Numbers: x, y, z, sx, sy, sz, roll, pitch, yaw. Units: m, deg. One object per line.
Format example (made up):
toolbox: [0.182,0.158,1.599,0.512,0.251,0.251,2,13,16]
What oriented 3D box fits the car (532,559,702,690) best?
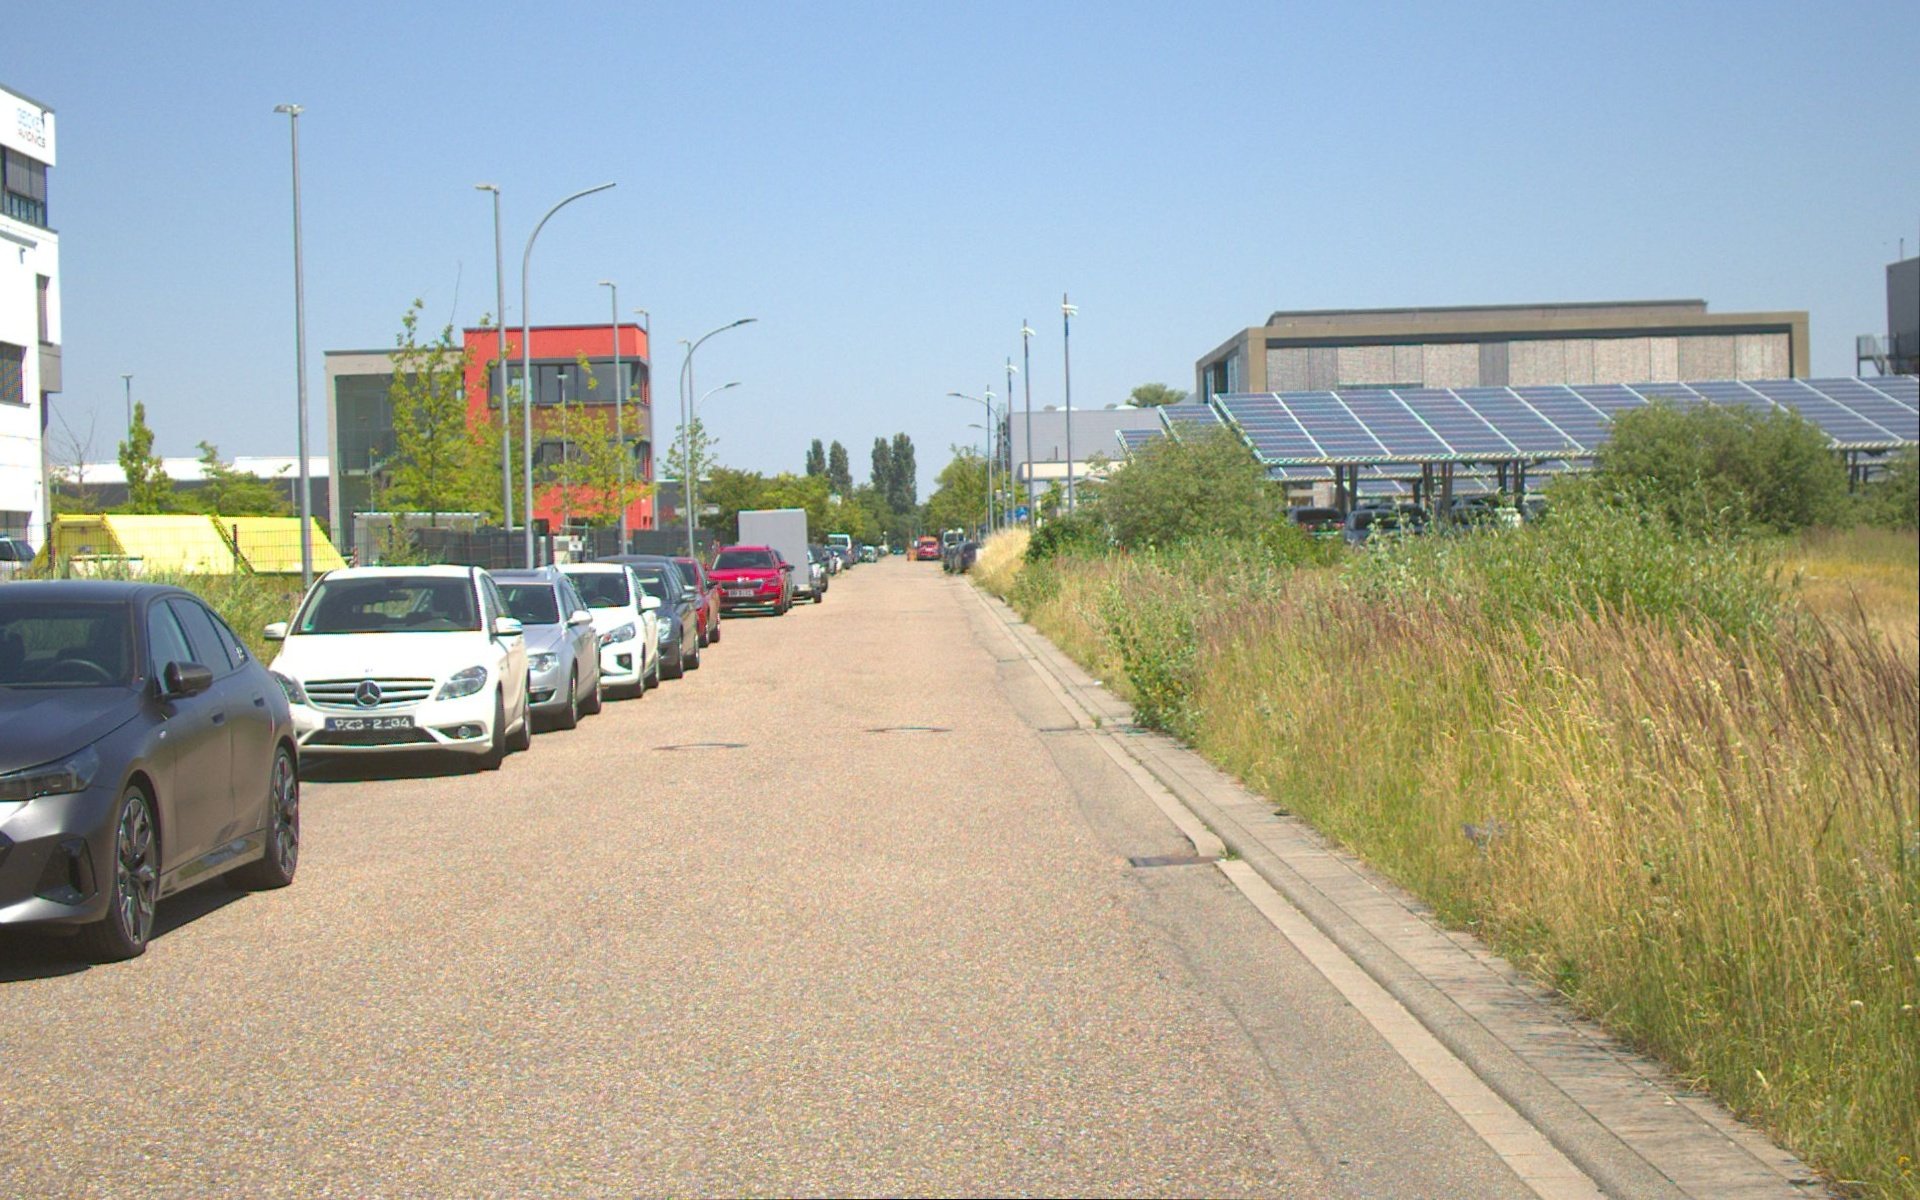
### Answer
car: [-4.358,0.272,44.163,1.787,1.515,3.983,-2,1,-1]

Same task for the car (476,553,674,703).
car: [-4.300,0.275,38.919,1.787,1.515,3.983,-2,1,-1]

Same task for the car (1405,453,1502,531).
car: [13.603,-2.959,95.012,1.993,2.007,4.000,-2,1,-1]

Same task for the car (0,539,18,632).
car: [-22.124,-0.229,71.347,4.528,1.936,2.031,-2,1,0]

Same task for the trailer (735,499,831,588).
trailer: [-4.460,-1.424,87.243,2.201,2.130,4.286,-2,1,-1]

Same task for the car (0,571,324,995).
car: [-4.128,0.671,15.049,1.768,1.480,5.015,-2,1,-1]

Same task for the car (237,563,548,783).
car: [-4.378,0.512,27.089,1.787,1.515,3.983,-2,1,-1]

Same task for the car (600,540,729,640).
car: [-4.825,-0.187,56.592,1.787,1.515,3.983,-2,1,-1]

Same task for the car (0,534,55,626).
car: [-22.100,-0.381,74.195,4.528,1.936,2.031,-2,1,0]

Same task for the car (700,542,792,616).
car: [-4.696,-0.482,75.814,1.787,1.515,3.983,-2,1,-1]

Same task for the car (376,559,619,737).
car: [-4.377,0.412,33.056,1.787,1.515,3.983,-2,1,-1]

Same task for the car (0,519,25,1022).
car: [-4.048,0.633,9.331,1.768,1.657,4.552,-2,1,-1]

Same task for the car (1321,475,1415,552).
car: [11.230,-2.375,94.875,1.993,2.007,4.000,-2,1,-1]
